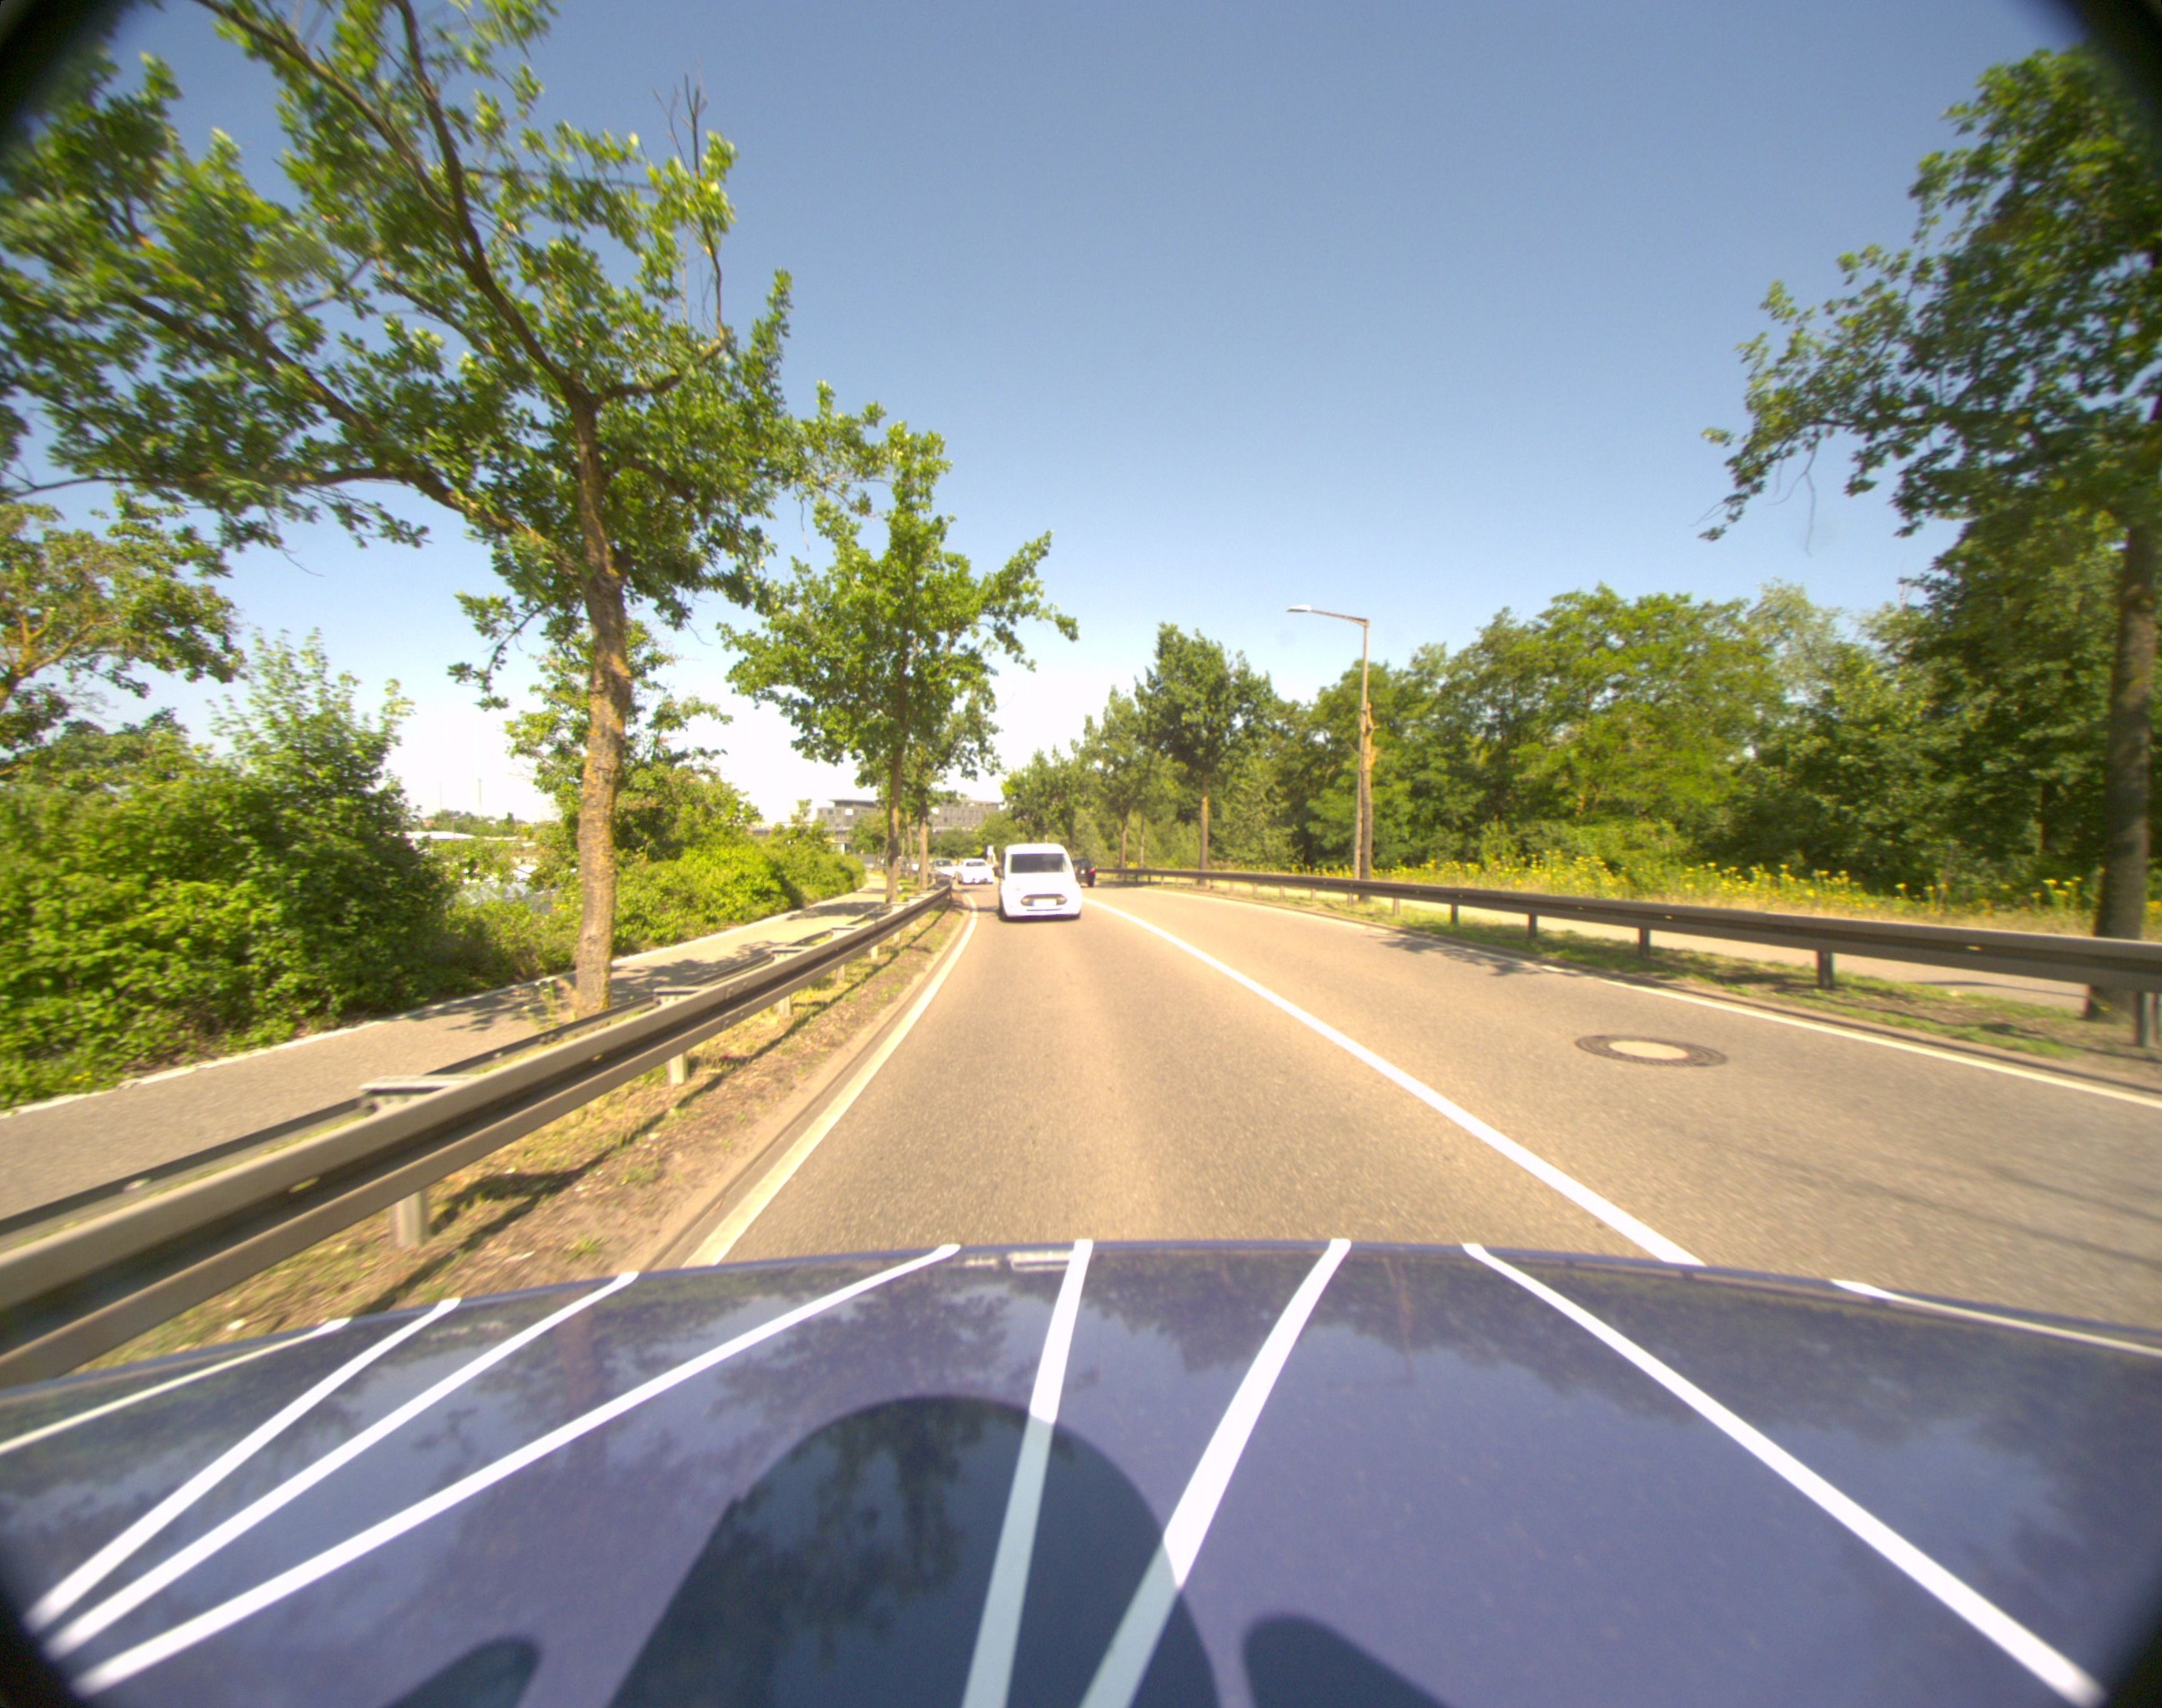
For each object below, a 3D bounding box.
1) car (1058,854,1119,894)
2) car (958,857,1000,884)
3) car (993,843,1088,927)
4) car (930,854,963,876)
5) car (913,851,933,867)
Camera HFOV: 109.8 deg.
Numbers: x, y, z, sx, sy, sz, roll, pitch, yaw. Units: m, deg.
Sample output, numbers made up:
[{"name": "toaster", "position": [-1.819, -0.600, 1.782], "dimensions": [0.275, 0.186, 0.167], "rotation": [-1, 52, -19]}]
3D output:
[{"name": "car", "position": [0.224, 0.787, 31.968], "dimensions": [1.707, 1.440, 4.116], "rotation": [-2, 1, -11]}, {"name": "car", "position": [-6.100, 0.937, 45.124], "dimensions": [1.848, 1.479, 4.146], "rotation": [-1, 0, -16]}, {"name": "car", "position": [-1.135, 0.672, 18.906], "dimensions": [1.898, 1.785, 4.444], "rotation": [-1, 0, -9]}, {"name": "car", "position": [-10.612, 0.840, 59.742], "dimensions": [2.001, 1.576, 3.994], "rotation": [-1, 0, -17]}, {"name": "car", "position": [-17.914, 0.533, 85.969], "dimensions": [2.001, 1.757, 3.995], "rotation": [-2, 1, -13]}]
